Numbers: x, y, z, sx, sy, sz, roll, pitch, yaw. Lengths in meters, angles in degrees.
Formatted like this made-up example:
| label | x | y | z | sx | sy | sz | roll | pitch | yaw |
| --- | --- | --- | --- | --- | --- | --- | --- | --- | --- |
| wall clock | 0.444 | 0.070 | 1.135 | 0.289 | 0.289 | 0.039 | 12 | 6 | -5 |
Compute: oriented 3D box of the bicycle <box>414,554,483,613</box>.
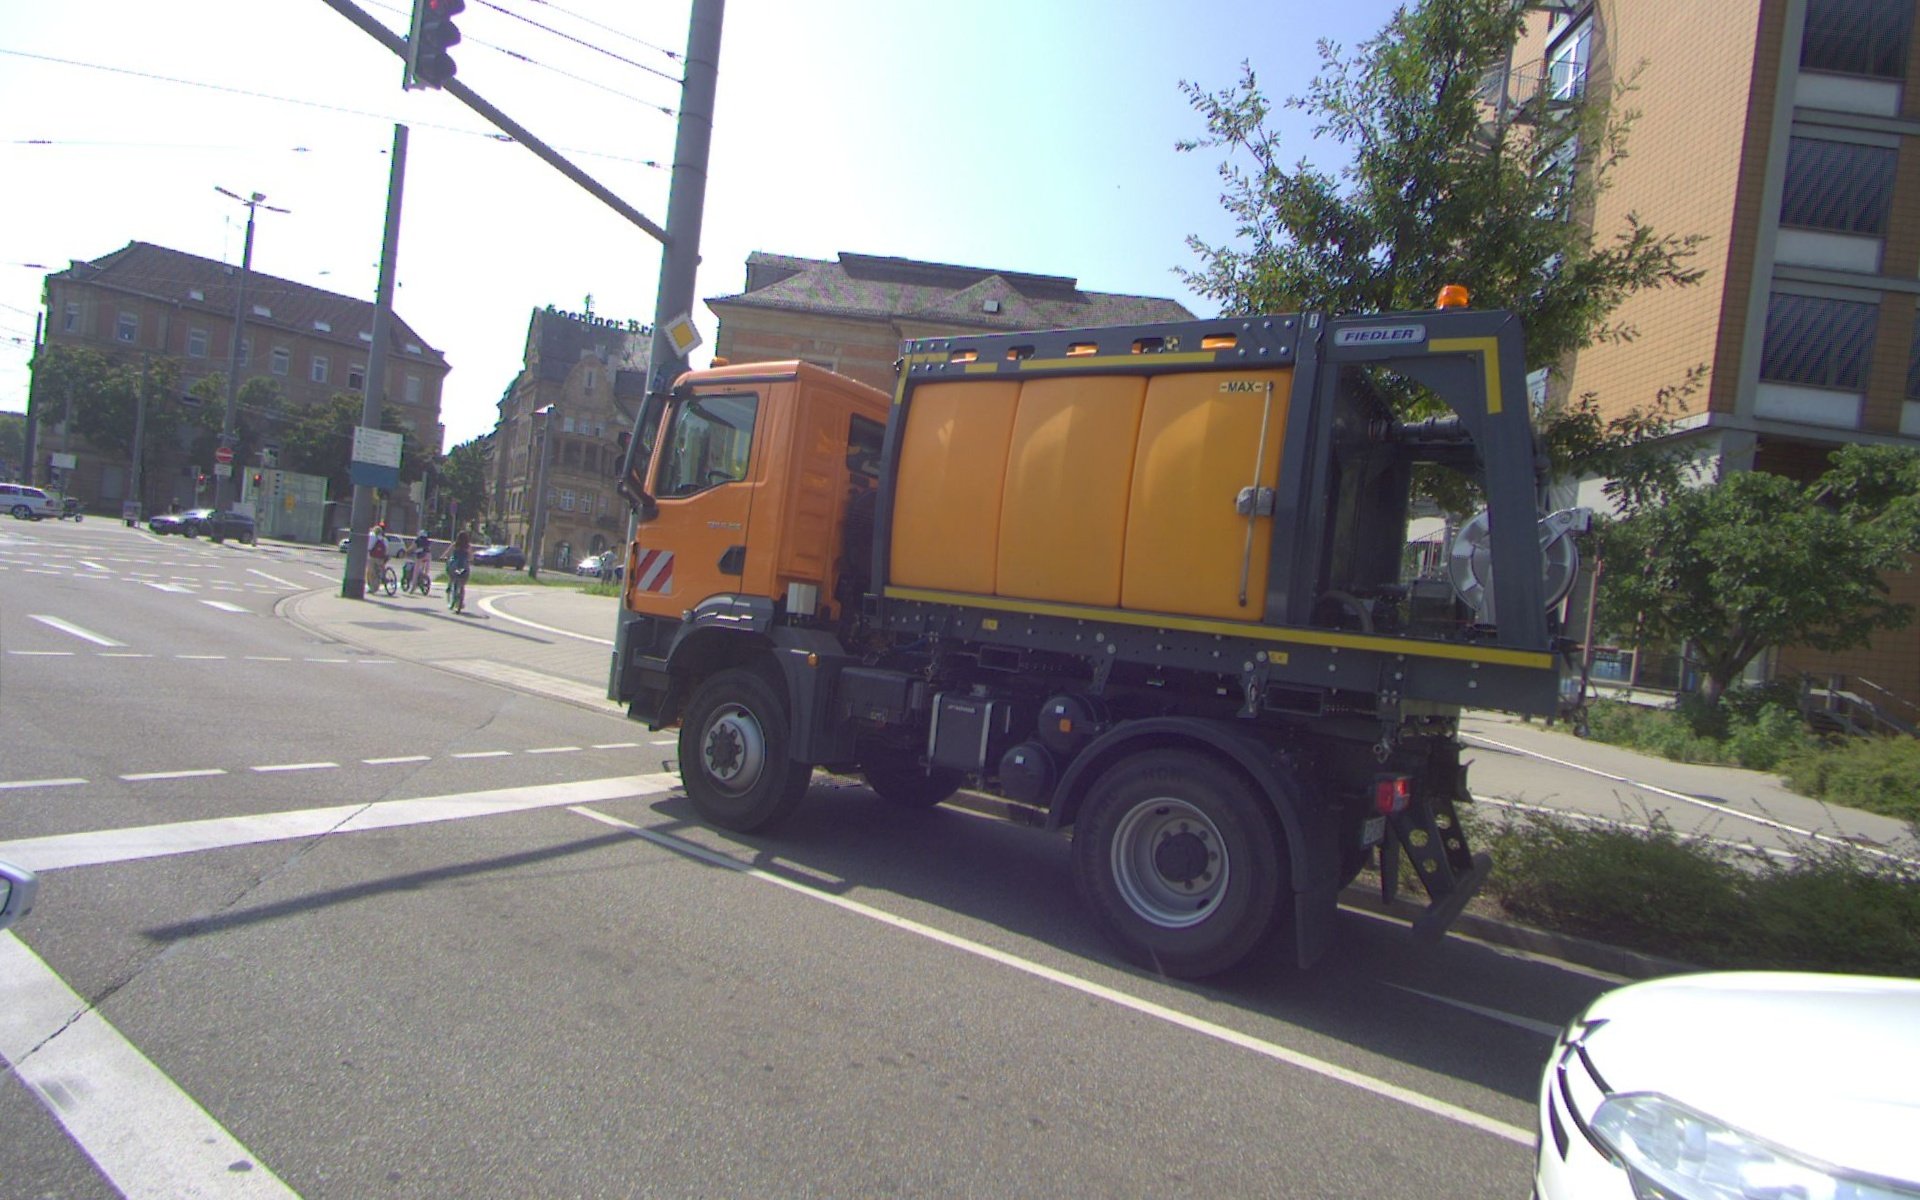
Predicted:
| label | x | y | z | sx | sy | sz | roll | pitch | yaw |
| --- | --- | --- | --- | --- | --- | --- | --- | --- | --- |
| bicycle | -10.988 | -0.363 | 21.576 | 1.795 | 1.068 | 0.492 | 7 | 1 | 37 |

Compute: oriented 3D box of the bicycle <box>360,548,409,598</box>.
| label | x | y | z | sx | sy | sz | roll | pitch | yaw |
| --- | --- | --- | --- | --- | --- | --- | --- | --- | --- |
| bicycle | -13.910 | -0.666 | 24.307 | 1.632 | 1.068 | 0.535 | 7 | 1 | 45 |

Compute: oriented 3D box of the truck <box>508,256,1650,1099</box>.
| label | x | y | z | sx | sy | sz | roll | pitch | yaw |
| --- | --- | --- | --- | --- | --- | --- | --- | --- | --- |
| truck | 0.277 | 0.092 | 6.688 | 6.751 | 3.171 | 2.495 | 7 | -2 | 34 |

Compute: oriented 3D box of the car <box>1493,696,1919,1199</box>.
| label | x | y | z | sx | sy | sz | roll | pitch | yaw |
| --- | --- | --- | --- | --- | --- | --- | --- | --- | --- |
| car | 3.237 | 1.171 | 1.115 | 4.536 | 1.446 | 1.769 | 7 | 0 | 34 |

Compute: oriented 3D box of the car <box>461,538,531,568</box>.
| label | x | y | z | sx | sy | sz | roll | pitch | yaw |
| --- | --- | --- | --- | --- | --- | --- | --- | --- | --- |
| car | -32.375 | -3.228 | 70.308 | 1.962 | 1.523 | 4.628 | 7 | 0 | 12 |

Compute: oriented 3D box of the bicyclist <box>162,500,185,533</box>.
| label | x | y | z | sx | sy | sz | roll | pitch | yaw |
| --- | --- | --- | --- | --- | --- | --- | --- | --- | --- |
| bicyclist | -39.625 | -4.206 | 50.674 | 0.511 | 1.548 | 0.613 | 7 | 1 | 8 |

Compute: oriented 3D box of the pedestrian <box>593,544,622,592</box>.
| label | x | y | z | sx | sy | sz | roll | pitch | yaw |
| --- | --- | --- | --- | --- | --- | --- | --- | --- | --- |
| pedestrian | -13.596 | -1.239 | 38.812 | 0.808 | 1.746 | 0.546 | 6 | 1 | -9 |

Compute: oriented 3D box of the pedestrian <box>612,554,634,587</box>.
| label | x | y | z | sx | sy | sz | roll | pitch | yaw |
| --- | --- | --- | --- | --- | --- | --- | --- | --- | --- |
| pedestrian | -13.780 | -1.203 | 41.119 | 0.659 | 1.229 | 0.523 | 6 | 1 | -30 |

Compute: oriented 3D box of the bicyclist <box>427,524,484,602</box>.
| label | x | y | z | sx | sy | sz | roll | pitch | yaw |
| --- | --- | --- | --- | --- | --- | --- | --- | --- | --- |
| bicyclist | -10.749 | -0.779 | 21.444 | 0.653 | 1.537 | 0.734 | 7 | 1 | 36 |

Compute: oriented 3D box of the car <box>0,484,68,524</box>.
| label | x | y | z | sx | sy | sz | roll | pitch | yaw |
| --- | --- | --- | --- | --- | --- | --- | --- | --- | --- |
| car | -41.186 | -4.275 | 43.027 | 4.142 | 1.433 | 1.762 | 7 | 0 | -30 |

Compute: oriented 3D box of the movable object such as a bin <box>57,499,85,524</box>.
| label | x | y | z | sx | sy | sz | roll | pitch | yaw |
| --- | --- | --- | --- | --- | --- | --- | --- | --- | --- |
| movable object such as a bin | -43.647 | -4.356 | 49.403 | 0.502 | 1.091 | 0.815 | 7 | 1 | 21 |

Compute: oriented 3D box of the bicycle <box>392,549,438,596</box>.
| label | x | y | z | sx | sy | sz | roll | pitch | yaw |
| --- | --- | --- | --- | --- | --- | --- | --- | --- | --- |
| bicycle | -14.416 | -0.736 | 26.590 | 1.632 | 1.068 | 0.535 | 7 | 1 | 45 |

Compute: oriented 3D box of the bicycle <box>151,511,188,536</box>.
| label | x | y | z | sx | sy | sz | roll | pitch | yaw |
| --- | --- | --- | --- | --- | --- | --- | --- | --- | --- |
| bicycle | -39.852 | -3.868 | 50.705 | 1.622 | 1.068 | 0.471 | 7 | 1 | 12 |

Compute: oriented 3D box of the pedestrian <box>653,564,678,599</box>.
| label | x | y | z | sx | sy | sz | roll | pitch | yaw |
| --- | --- | --- | --- | --- | --- | --- | --- | --- | --- |
| pedestrian | -12.785 | -0.811 | 43.695 | 0.679 | 1.417 | 0.767 | 7 | 1 | 7 |

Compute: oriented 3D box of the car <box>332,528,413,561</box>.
| label | x | y | z | sx | sy | sz | roll | pitch | yaw |
| --- | --- | --- | --- | --- | --- | --- | --- | --- | --- |
| car | -33.951 | -3.171 | 58.225 | 1.742 | 1.433 | 4.203 | 7 | 0 | 7 |

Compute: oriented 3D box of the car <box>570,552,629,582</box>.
| label | x | y | z | sx | sy | sz | roll | pitch | yaw |
| --- | --- | --- | --- | --- | --- | --- | --- | --- | --- |
| car | -30.278 | -2.745 | 84.651 | 1.963 | 2.038 | 4.626 | 7 | 0 | 19 |

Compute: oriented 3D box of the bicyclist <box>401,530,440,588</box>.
| label | x | y | z | sx | sy | sz | roll | pitch | yaw |
| --- | --- | --- | --- | --- | --- | --- | --- | --- | --- |
| bicyclist | -14.117 | -1.085 | 26.316 | 0.882 | 1.410 | 0.529 | 7 | 1 | 44 |

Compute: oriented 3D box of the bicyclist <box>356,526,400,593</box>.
| label | x | y | z | sx | sy | sz | roll | pitch | yaw |
| --- | --- | --- | --- | --- | --- | --- | --- | --- | --- |
| bicyclist | -14.173 | -0.994 | 24.501 | 0.702 | 1.537 | 0.626 | 7 | 1 | 44 |

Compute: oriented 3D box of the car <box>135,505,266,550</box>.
| label | x | y | z | sx | sy | sz | roll | pitch | yaw |
| --- | --- | --- | --- | --- | --- | --- | --- | --- | --- |
| car | -35.299 | -3.348 | 46.941 | 1.742 | 1.433 | 4.771 | 7 | 0 | 13 |
